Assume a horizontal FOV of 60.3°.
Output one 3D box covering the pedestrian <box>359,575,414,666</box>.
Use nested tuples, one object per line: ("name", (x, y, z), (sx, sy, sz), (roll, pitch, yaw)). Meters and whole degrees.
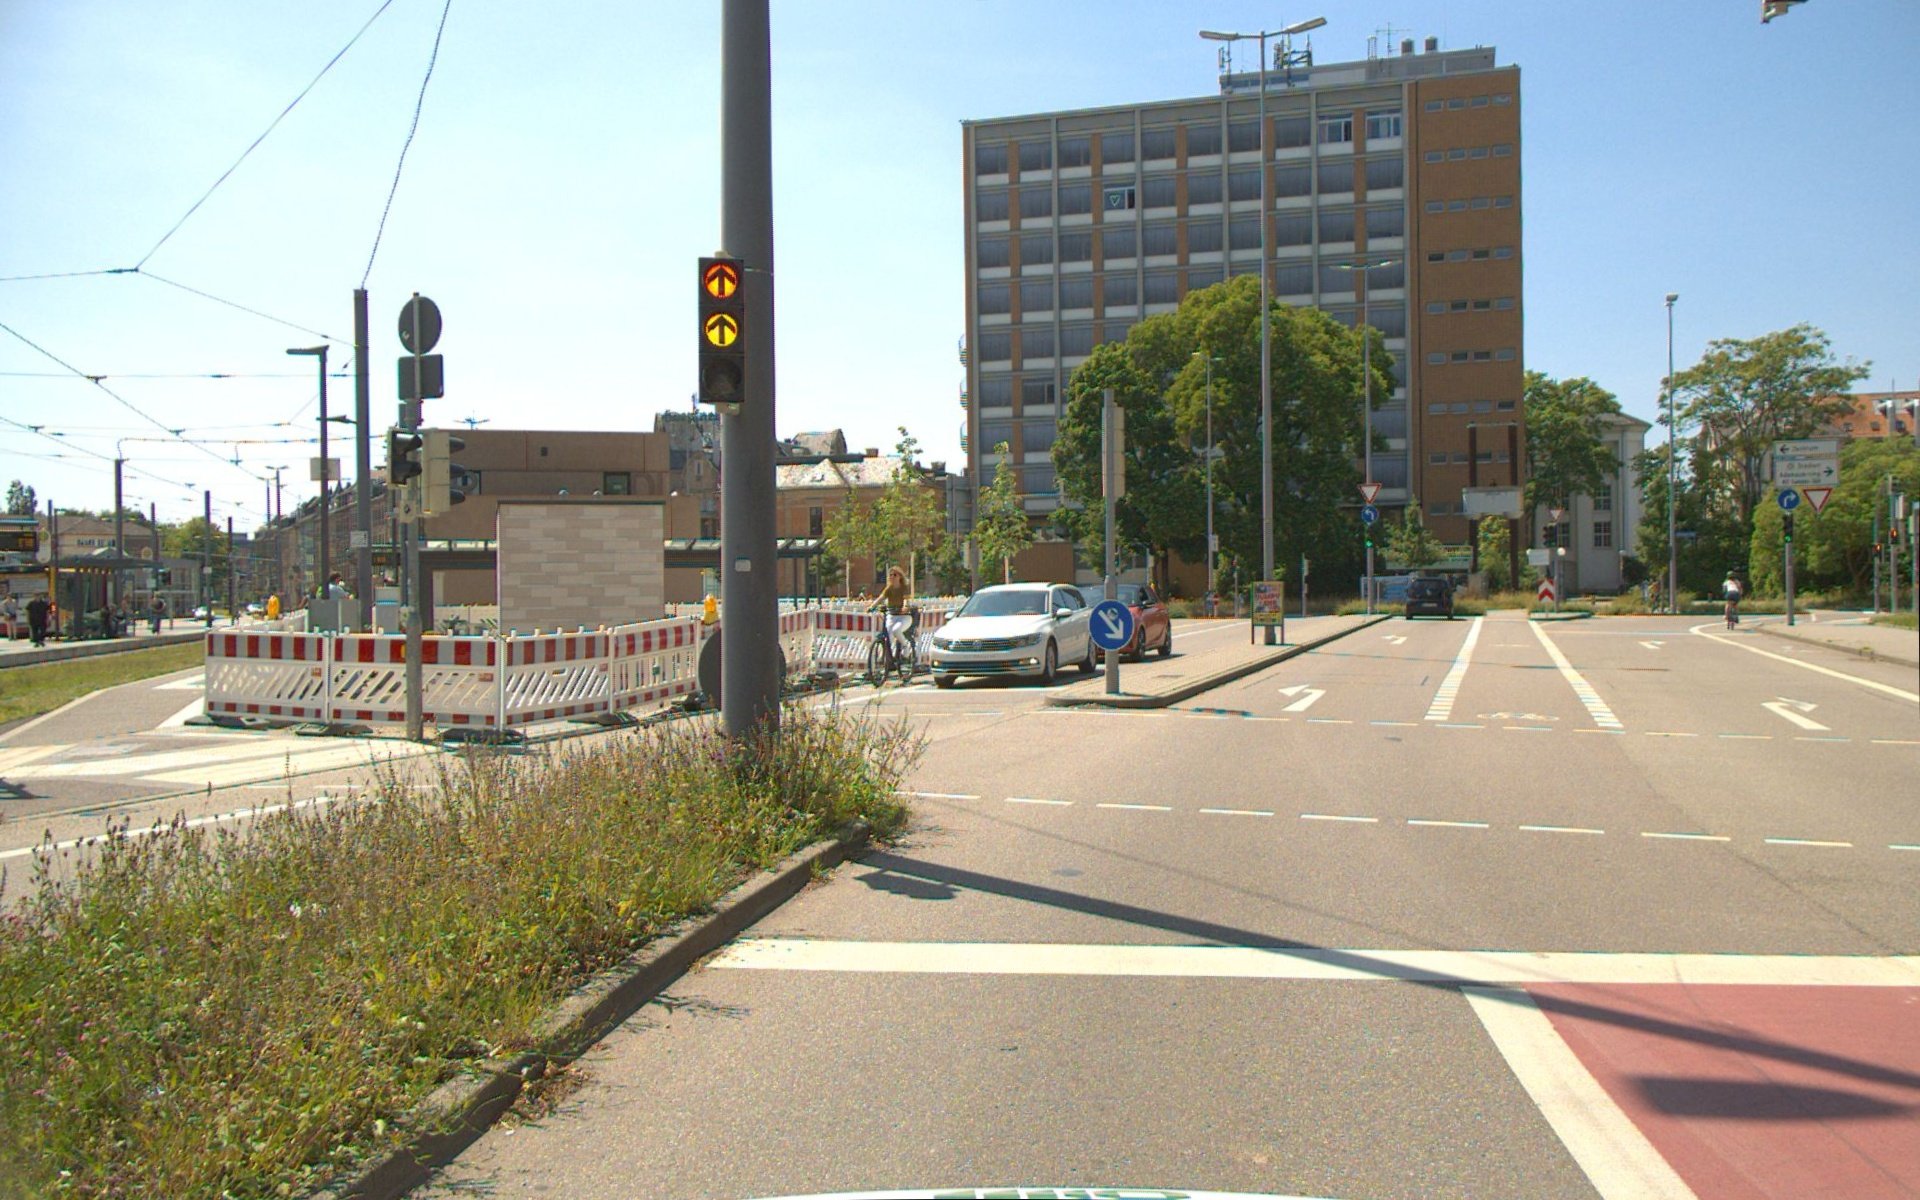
("pedestrian", (-12.032, 0.430, 34.689), (0.967, 1.864, 0.627), (-1, 0, -31))

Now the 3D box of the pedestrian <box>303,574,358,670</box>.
("pedestrian", (-12.692, 0.449, 33.369), (0.715, 1.897, 0.765), (-1, -1, 33))

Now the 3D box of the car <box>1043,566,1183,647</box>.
("car", (3.031, 0.125, 32.104), (1.695, 1.450, 4.125), (-1, 0, 20))

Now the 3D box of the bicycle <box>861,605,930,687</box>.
("bicycle", (-0.986, 0.685, 25.597), (0.389, 1.194, 1.771), (-1, 0, 21))

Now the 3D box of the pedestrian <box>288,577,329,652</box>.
("pedestrian", (-15.274, 0.332, 38.766), (0.721, 1.736, 0.734), (0, -1, -36))

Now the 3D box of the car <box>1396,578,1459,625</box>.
("car", (16.339, 0.030, 57.971), (1.652, 1.553, 3.693), (-1, 0, 9))

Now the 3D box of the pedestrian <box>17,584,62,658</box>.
("pedestrian", (-26.865, 0.600, 48.271), (0.883, 2.133, 0.829), (-1, 0, -12))

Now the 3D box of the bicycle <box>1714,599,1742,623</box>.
("bicycle", (22.659, 0.327, 48.795), (0.371, 0.657, 1.636), (-1, 0, 39))

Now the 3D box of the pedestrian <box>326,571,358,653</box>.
("pedestrian", (-15.018, 0.286, 40.159), (0.709, 1.957, 1.067), (0, -1, -21))

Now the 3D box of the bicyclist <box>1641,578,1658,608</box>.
("bicyclist", (34.690, -0.342, 83.204), (0.671, 1.514, 0.783), (-1, -1, 29))

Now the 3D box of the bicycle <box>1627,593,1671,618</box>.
("bicycle", (34.677, 0.293, 83.236), (1.969, 1.155, 0.573), (-3, -2, 30))

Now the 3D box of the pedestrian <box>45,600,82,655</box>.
("pedestrian", (-31.337, 0.954, 57.819), (0.965, 1.867, 0.765), (-1, 0, -41))

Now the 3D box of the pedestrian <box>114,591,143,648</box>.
("pedestrian", (-31.808, 0.748, 63.293), (0.816, 2.133, 0.898), (-1, 0, -17))

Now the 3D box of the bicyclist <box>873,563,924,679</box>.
("bicyclist", (-0.957, 0.319, 25.687), (0.556, 1.748, 0.507), (4, 2, 24))

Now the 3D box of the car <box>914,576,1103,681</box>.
("car", (0.876, 0.417, 25.841), (1.951, 1.463, 4.709), (-1, 0, 14))

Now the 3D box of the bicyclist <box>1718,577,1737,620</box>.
("bicyclist", (22.621, -0.055, 48.752), (0.346, 1.249, 0.561), (-1, 0, 39))
